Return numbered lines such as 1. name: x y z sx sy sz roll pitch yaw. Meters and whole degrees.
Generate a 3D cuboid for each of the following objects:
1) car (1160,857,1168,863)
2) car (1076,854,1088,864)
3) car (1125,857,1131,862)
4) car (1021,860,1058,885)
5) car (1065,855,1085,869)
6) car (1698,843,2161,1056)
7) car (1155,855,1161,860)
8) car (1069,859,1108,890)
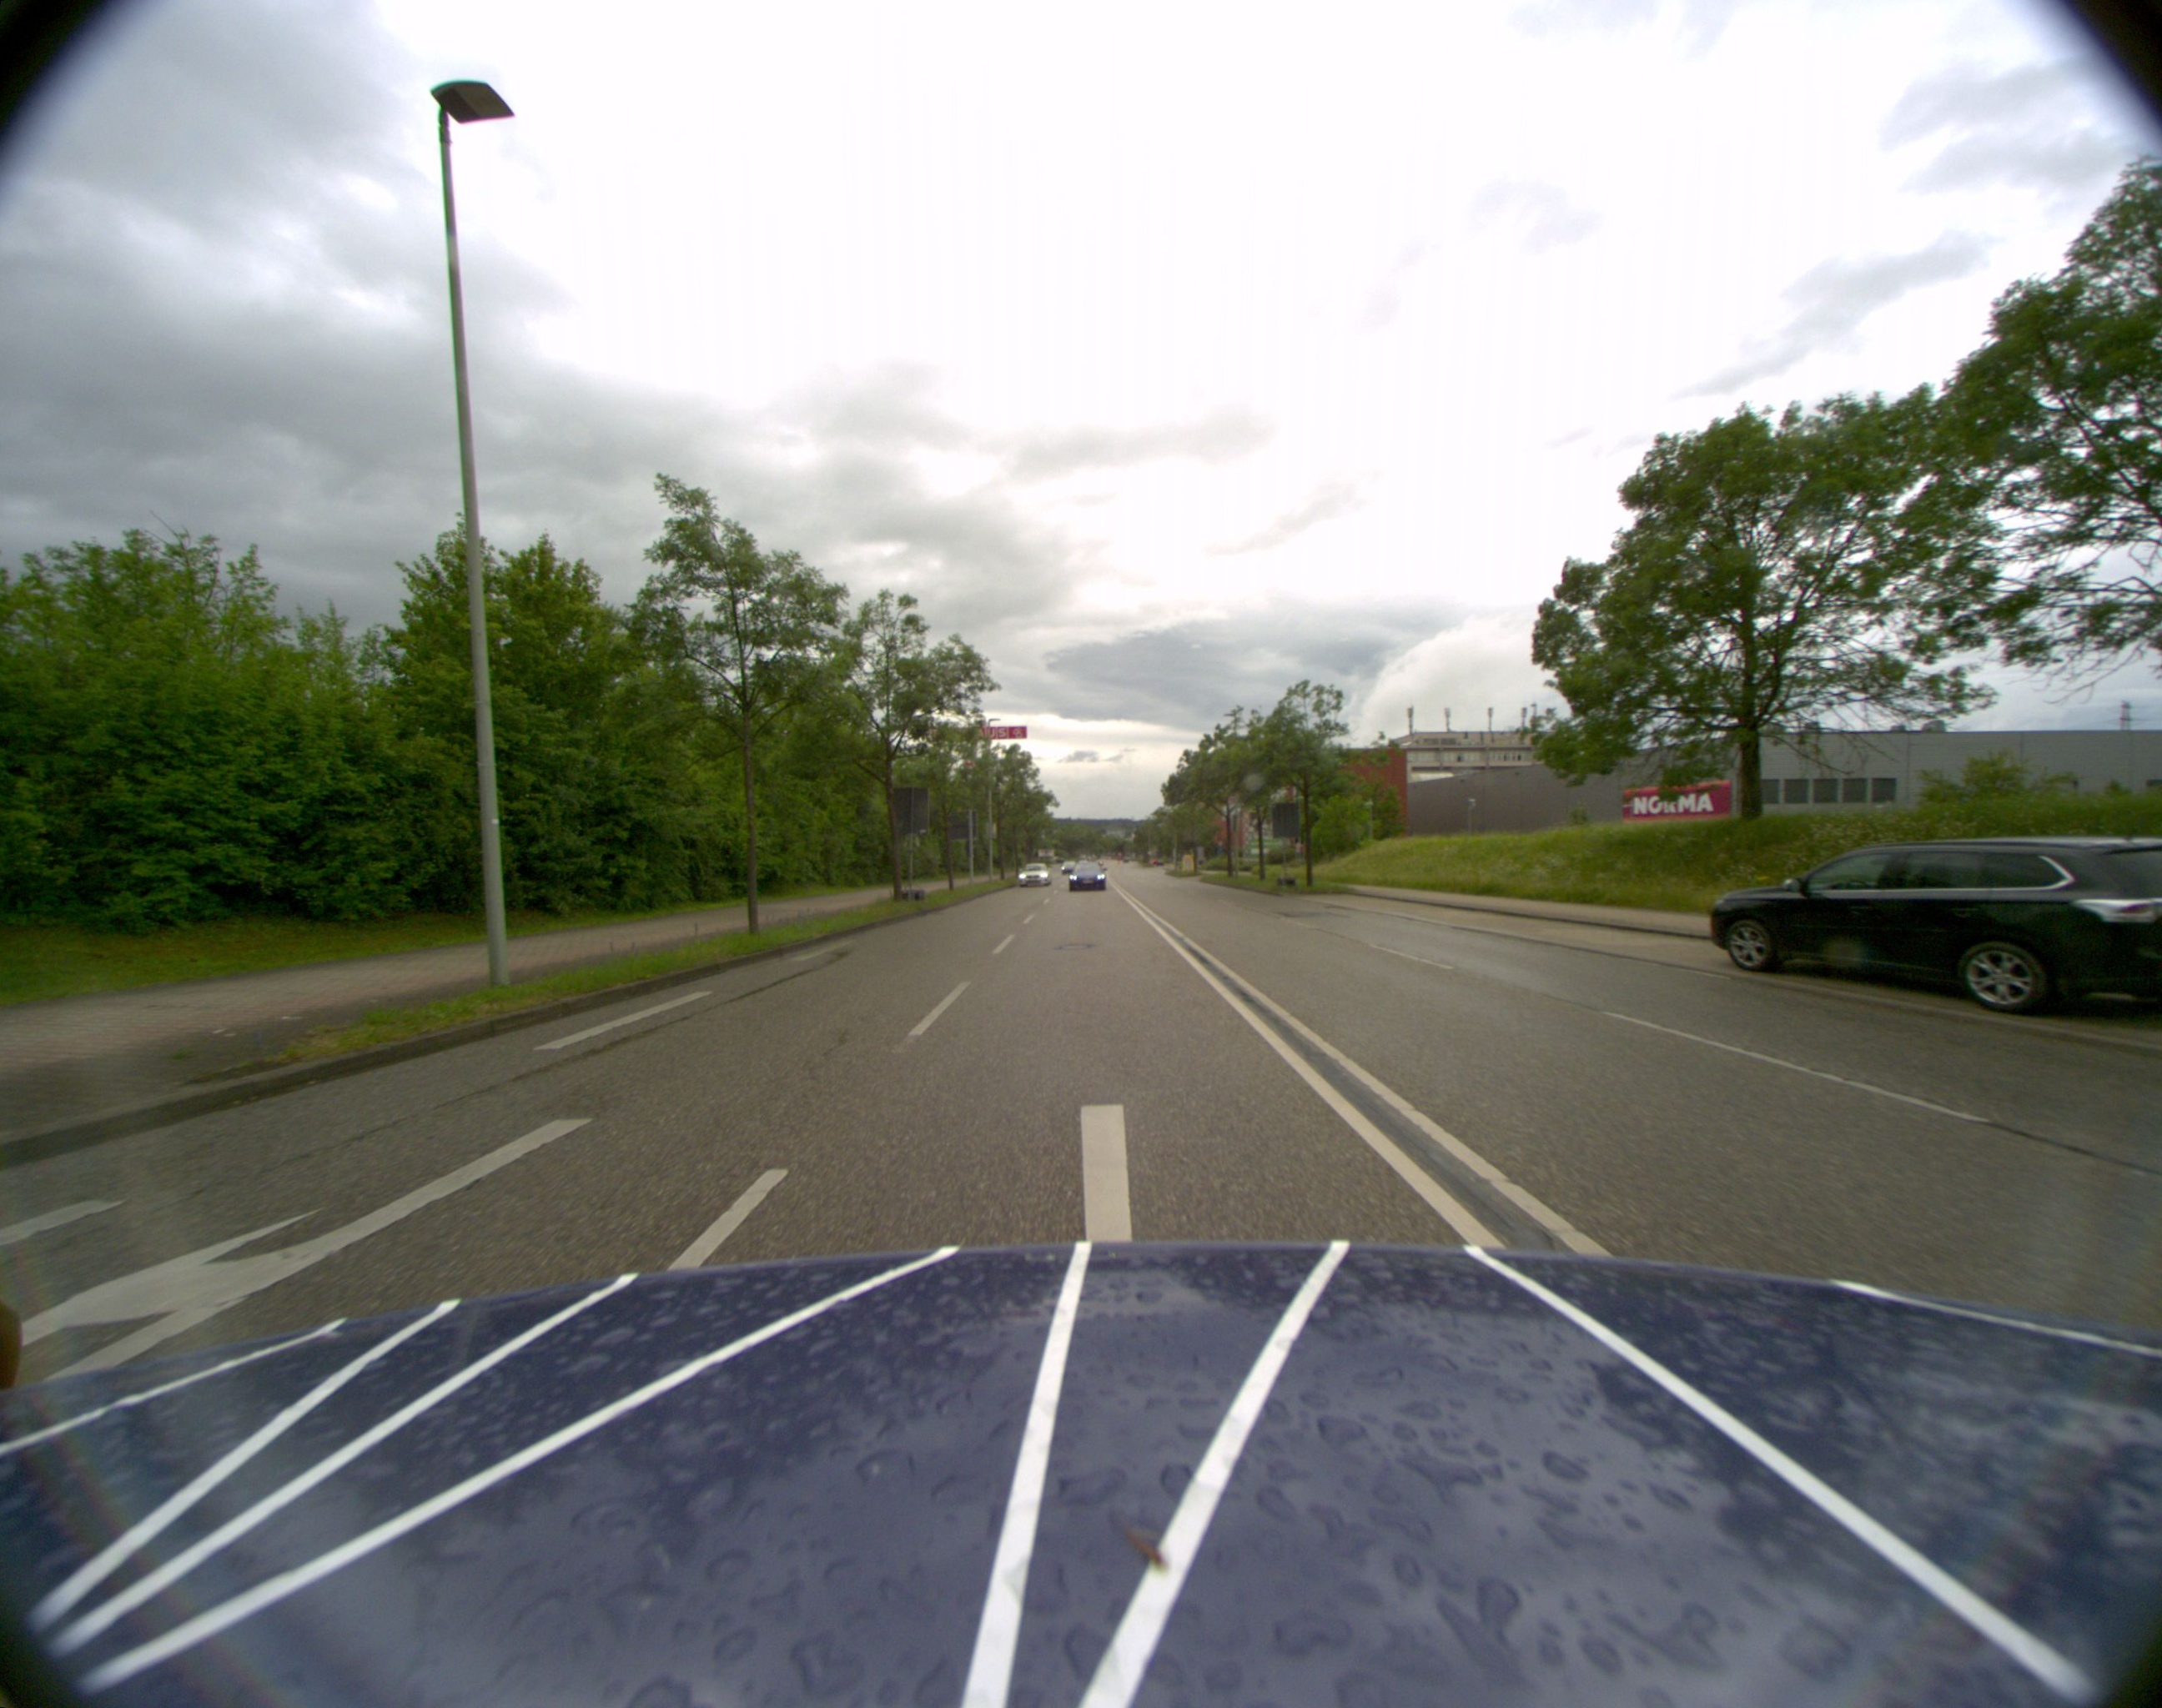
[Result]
1. car: 20.249 1.440 185.294 1.740 1.445 4.002 1 0 6
2. car: 0.190 0.787 126.308 1.853 1.565 3.999 -2 1 0
3. car: 15.478 1.920 252.337 1.863 1.568 4.321 1 0 3
4. car: -2.676 1.162 49.756 1.863 1.473 4.001 -2 0 5
5. car: -0.698 0.906 93.453 2.113 1.610 4.841 -2 0 3
6. car: 9.503 0.768 8.377 1.730 1.658 4.488 -3 0 1
7. car: 21.826 0.905 214.841 1.679 1.497 4.218 0 0 6
8. car: 0.440 1.029 39.940 1.827 1.473 4.841 -2 0 3
